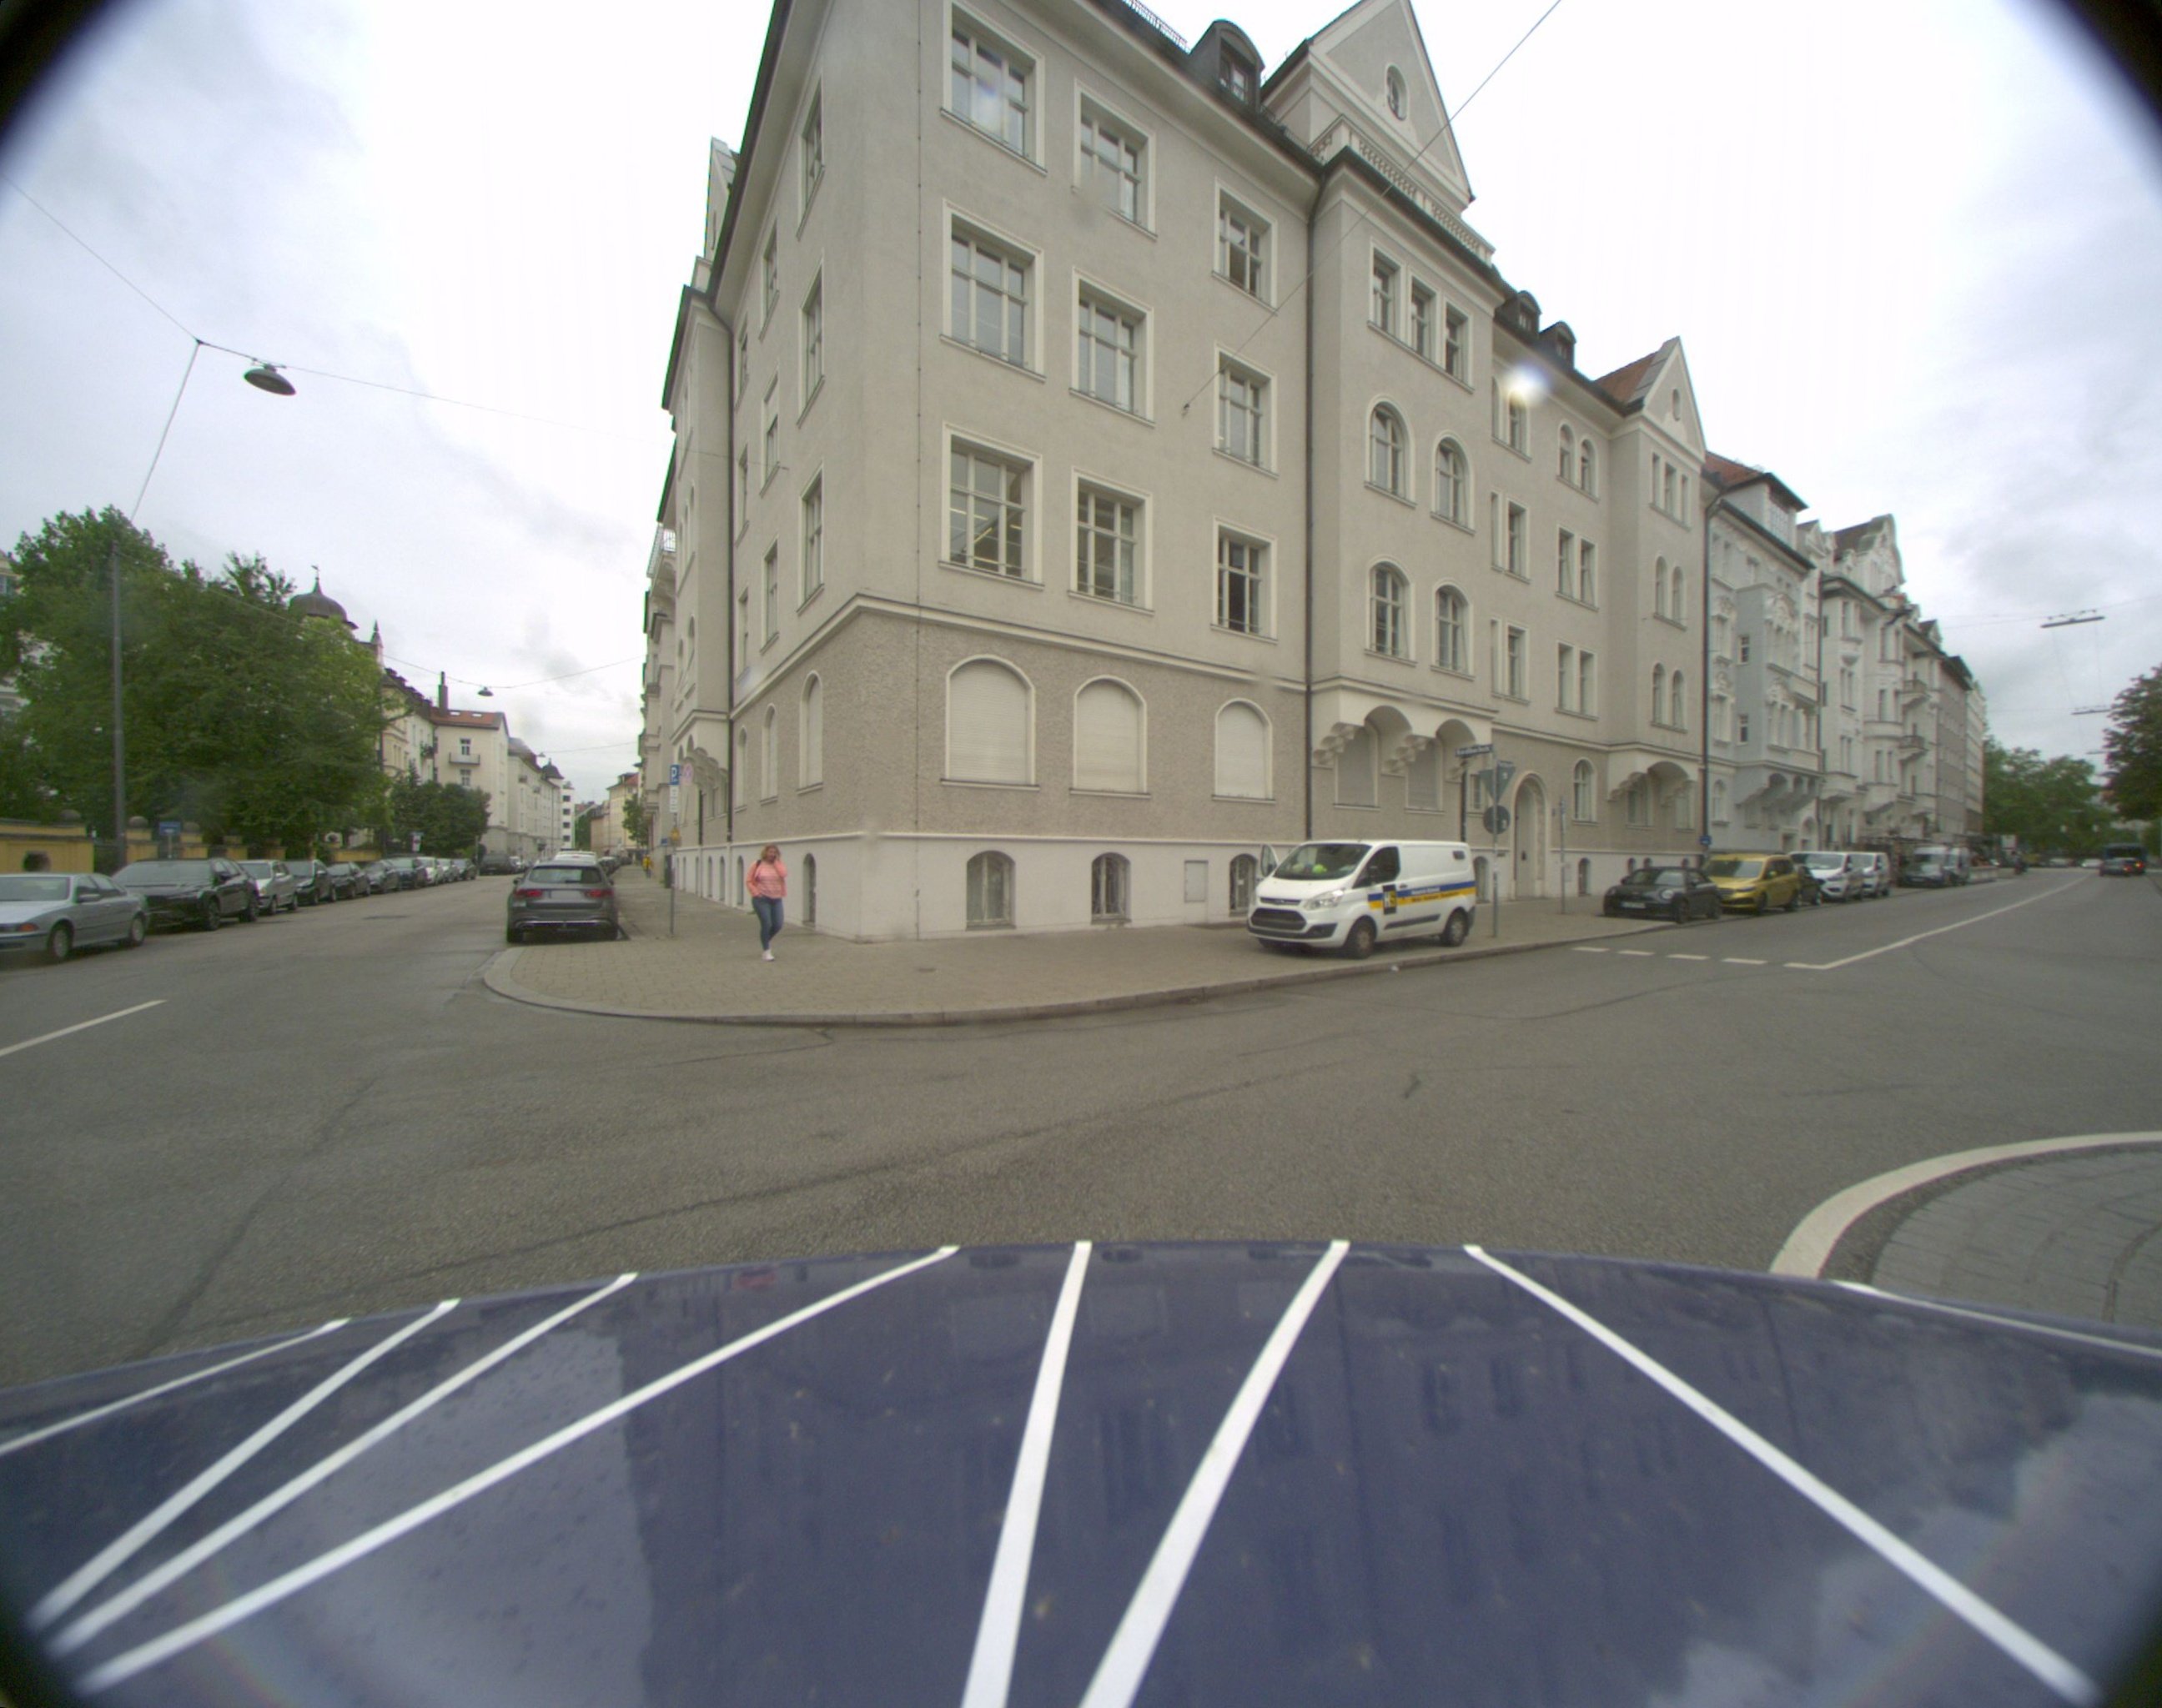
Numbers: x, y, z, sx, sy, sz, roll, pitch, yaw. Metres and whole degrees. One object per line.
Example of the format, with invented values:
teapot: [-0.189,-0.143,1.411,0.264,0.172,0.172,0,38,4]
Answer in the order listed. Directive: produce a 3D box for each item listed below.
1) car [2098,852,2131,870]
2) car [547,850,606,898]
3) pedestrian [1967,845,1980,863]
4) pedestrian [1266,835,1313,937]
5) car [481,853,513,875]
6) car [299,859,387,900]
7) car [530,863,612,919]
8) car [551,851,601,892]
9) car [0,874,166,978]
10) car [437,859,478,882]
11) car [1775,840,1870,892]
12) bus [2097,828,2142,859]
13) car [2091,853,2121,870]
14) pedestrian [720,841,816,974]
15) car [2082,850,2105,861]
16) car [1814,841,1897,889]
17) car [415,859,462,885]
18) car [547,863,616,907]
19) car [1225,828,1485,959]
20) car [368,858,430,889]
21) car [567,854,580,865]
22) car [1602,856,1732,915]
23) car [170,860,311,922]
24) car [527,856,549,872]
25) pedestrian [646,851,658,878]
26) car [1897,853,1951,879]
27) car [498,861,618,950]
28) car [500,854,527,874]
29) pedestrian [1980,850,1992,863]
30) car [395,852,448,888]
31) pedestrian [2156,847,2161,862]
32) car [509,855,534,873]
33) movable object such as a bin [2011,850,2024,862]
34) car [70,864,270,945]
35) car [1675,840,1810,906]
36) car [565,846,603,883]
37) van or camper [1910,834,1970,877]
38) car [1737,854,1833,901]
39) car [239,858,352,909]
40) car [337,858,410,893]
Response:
car: [97.989,0.670,72.064,4.282,1.635,1.769,0,1,-36]
car: [-20.746,0.760,31.242,1.896,1.842,4.409,1,0,-34]
pedestrian: [87.844,0.021,74.769,0.747,1.723,0.702,-1,1,-36]
pedestrian: [3.902,0.585,14.282,0.677,1.877,0.592,0,1,-6]
car: [-50.325,0.835,65.514,1.778,1.792,4.333,0,0,-32]
car: [-29.042,0.940,30.053,1.778,1.436,4.392,0,0,-35]
car: [-15.388,1.038,22.934,1.896,1.455,4.409,1,0,-34]
car: [-24.237,0.784,36.451,1.896,1.872,4.409,1,0,-34]
car: [-17.416,1.096,12.552,1.829,1.394,4.560,0,0,-35]
car: [-41.601,1.066,50.743,1.778,1.436,4.056,0,0,-35]
car: [29.467,0.416,30.137,5.003,1.926,1.960,0,1,-37]
bus: [108.322,-1.076,79.239,8.939,3.083,2.581,0,1,-35]
car: [92.795,0.689,68.800,3.789,1.471,1.585,0,1,-36]
pedestrian: [-4.715,0.744,11.417,1.213,1.862,1.088,-1,1,-29]
car: [154.588,0.168,116.021,4.007,1.608,1.923,-1,0,-34]
car: [34.509,0.440,33.830,5.003,2.002,1.960,0,1,-37]
car: [-39.017,1.068,46.242,1.778,1.436,4.056,0,0,-35]
car: [-17.785,1.028,27.015,1.896,1.367,4.409,1,0,-34]
car: [5.000,0.556,13.551,4.936,1.951,1.916,0,2,-36]
car: [-33.662,0.912,37.617,1.778,1.436,4.056,0,0,-35]
car: [-88.748,0.967,133.013,1.778,1.792,4.333,0,0,-32]
car: [15.899,0.786,20.568,3.903,1.449,1.665,0,1,-35]
car: [-23.858,0.972,21.772,1.829,1.521,4.392,0,0,-36]
car: [-63.367,1.101,88.675,1.778,1.792,4.333,0,0,-32]
pedestrian: [-32.091,0.751,56.854,0.712,2.002,0.707,-1,1,-32]
car: [49.769,0.660,44.829,4.095,1.426,1.754,-1,1,-37]
car: [-11.242,0.983,16.405,1.896,1.607,4.409,1,0,-34]
car: [-55.646,0.954,74.610,1.778,1.792,4.333,0,0,-32]
pedestrian: [92.458,0.250,77.653,0.586,1.230,0.707,-1,1,-36]
car: [-36.571,0.858,42.229,1.778,1.874,4.056,0,0,-35]
pedestrian: [140.338,0.087,98.465,1.398,2.002,0.951,-1,1,-26]
car: [-58.190,1.003,79.060,1.778,1.792,4.333,0,0,-32]
movable object such as a bin: [104.300,0.228,84.600,0.800,1.243,0.875,-1,1,-41]
car: [-20.637,1.029,17.470,1.829,1.521,4.560,0,0,-35]
car: [20.541,0.528,23.536,4.829,1.842,1.851,0,1,-33]
car: [-31.453,0.648,48.048,1.896,2.243,4.409,1,0,-34]
van or camper: [54.635,0.047,48.278,5.468,2.621,1.955,-1,1,-36]
car: [24.646,0.774,26.576,3.790,1.476,1.632,-1,1,-34]
car: [-26.535,0.931,25.834,1.828,1.521,4.392,0,0,-35]
car: [-31.428,0.914,33.851,1.778,1.436,4.056,0,0,-35]
